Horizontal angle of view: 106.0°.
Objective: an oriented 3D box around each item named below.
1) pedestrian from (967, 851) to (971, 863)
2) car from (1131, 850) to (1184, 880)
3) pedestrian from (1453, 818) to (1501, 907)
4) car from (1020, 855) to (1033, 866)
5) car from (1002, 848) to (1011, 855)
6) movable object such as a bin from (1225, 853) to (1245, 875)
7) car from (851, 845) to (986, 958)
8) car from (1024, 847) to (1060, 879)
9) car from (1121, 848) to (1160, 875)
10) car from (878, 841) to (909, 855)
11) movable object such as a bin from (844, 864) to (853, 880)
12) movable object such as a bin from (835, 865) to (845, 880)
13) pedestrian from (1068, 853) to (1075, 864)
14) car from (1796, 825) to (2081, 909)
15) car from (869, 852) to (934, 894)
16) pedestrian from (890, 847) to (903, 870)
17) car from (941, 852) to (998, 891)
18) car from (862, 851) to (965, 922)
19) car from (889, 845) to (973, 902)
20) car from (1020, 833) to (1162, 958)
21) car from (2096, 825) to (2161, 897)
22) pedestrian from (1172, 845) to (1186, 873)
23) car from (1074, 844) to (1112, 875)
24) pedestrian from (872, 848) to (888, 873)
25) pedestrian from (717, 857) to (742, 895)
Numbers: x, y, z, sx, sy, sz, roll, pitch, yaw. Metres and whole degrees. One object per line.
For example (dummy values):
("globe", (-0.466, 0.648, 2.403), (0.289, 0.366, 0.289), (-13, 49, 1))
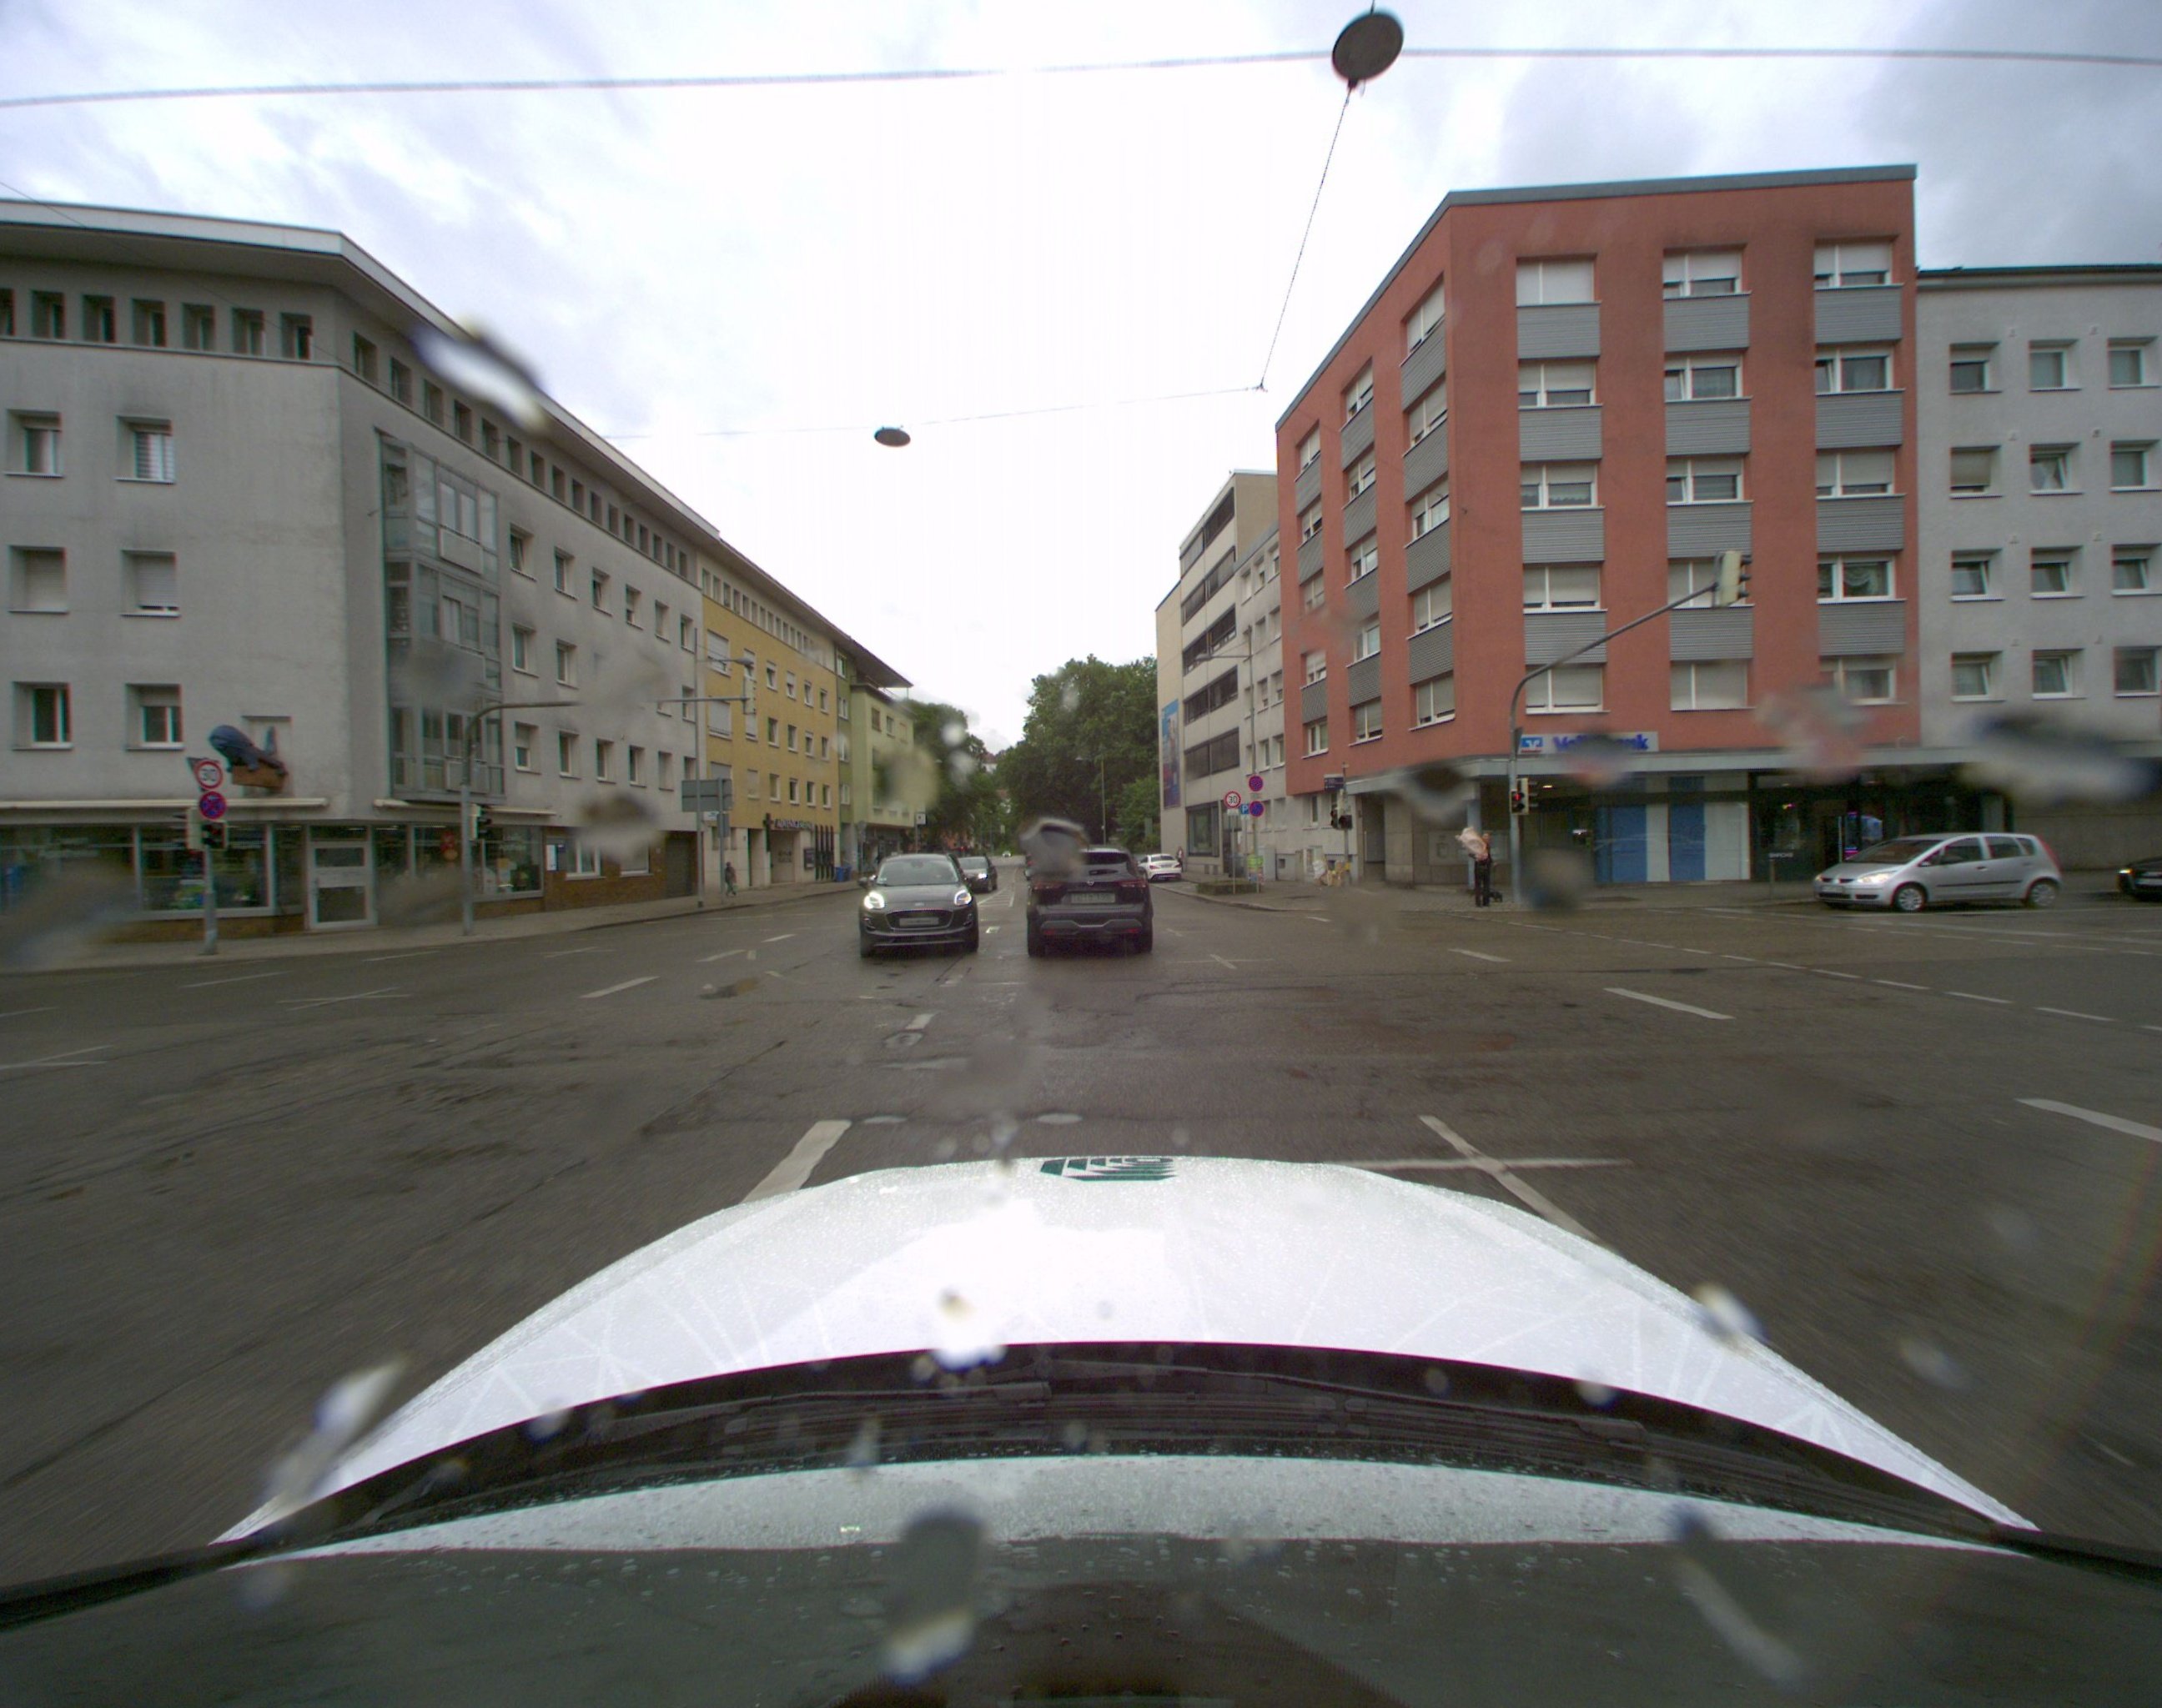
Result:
("pedestrian", (-16.980, 0.461, 123.400), (0.667, 1.791, 0.719), (0, 0, -11))
("car", (3.891, 0.532, 42.167), (1.773, 1.401, 4.569), (-3, 0, -7))
("pedestrian", (9.759, 0.211, 20.106), (0.822, 2.158, 0.770), (0, 0, 1))
("car", (-7.679, 0.899, 115.202), (1.817, 1.612, 3.860), (0, 0, -4))
("car", (-18.300, -0.557, 200.248), (1.817, 1.796, 3.861), (0, 0, -3))
("movable object such as a bin", (7.602, 0.501, 40.292), (0.713, 1.068, 0.781), (-2, 0, -11))
("car", (-2.721, 0.653, 13.774), (1.857, 1.553, 4.210), (-2, 1, -11))
("car", (-2.271, 0.512, 47.173), (1.942, 1.685, 3.995), (-3, -1, -3))
("car", (3.521, 0.443, 48.655), (1.711, 1.442, 4.076), (-3, 0, -4))
("car", (-24.674, -0.810, 107.310), (3.829, 1.734, 1.875), (0, 0, -7))
("movable object such as a bin", (-15.008, 1.190, 52.655), (0.397, 1.006, 0.545), (-1, 0, 2))
("movable object such as a bin", (-14.946, 1.139, 50.449), (0.452, 0.929, 0.503), (-1, 0, 2))
("pedestrian", (-1.480, 0.683, 127.638), (0.712, 1.791, 0.673), (0, 0, 44))
("car", (17.267, 0.251, 16.537), (3.932, 1.486, 1.703), (-2, 0, 1))
("car", (-7.743, 0.804, 35.457), (1.815, 1.640, 4.372), (-2, -1, 0))
("pedestrian", (-14.087, 0.351, 62.182), (0.797, 1.688, 0.816), (-1, 0, -5))
("car", (-4.545, 0.715, 33.810), (1.816, 1.433, 4.395), (-2, -1, -2))
("car", (-4.060, 0.765, 20.395), (1.930, 1.527, 4.128), (-2, -1, -4))
("car", (-4.657, 0.602, 25.927), (1.815, 1.608, 4.429), (-2, -1, 0))
("car", (0.036, 0.542, 13.027), (1.890, 1.629, 3.995), (-2, 1, -3))
("car", (23.664, 0.073, 16.377), (4.353, 1.425, 1.669), (-2, 0, 1))
("pedestrian", (6.116, 0.311, 50.710), (0.612, 1.737, 0.678), (-3, 0, -12))
("car", (0.709, 0.357, 52.660), (1.943, 1.816, 3.991), (-3, -1, -6))
("pedestrian", (-14.477, 0.493, 58.761), (0.862, 1.788, 0.875), (1, 0, 1))
("pedestrian", (-14.864, 0.915, 34.446), (0.684, 1.581, 0.652), (1, 0, 3))
